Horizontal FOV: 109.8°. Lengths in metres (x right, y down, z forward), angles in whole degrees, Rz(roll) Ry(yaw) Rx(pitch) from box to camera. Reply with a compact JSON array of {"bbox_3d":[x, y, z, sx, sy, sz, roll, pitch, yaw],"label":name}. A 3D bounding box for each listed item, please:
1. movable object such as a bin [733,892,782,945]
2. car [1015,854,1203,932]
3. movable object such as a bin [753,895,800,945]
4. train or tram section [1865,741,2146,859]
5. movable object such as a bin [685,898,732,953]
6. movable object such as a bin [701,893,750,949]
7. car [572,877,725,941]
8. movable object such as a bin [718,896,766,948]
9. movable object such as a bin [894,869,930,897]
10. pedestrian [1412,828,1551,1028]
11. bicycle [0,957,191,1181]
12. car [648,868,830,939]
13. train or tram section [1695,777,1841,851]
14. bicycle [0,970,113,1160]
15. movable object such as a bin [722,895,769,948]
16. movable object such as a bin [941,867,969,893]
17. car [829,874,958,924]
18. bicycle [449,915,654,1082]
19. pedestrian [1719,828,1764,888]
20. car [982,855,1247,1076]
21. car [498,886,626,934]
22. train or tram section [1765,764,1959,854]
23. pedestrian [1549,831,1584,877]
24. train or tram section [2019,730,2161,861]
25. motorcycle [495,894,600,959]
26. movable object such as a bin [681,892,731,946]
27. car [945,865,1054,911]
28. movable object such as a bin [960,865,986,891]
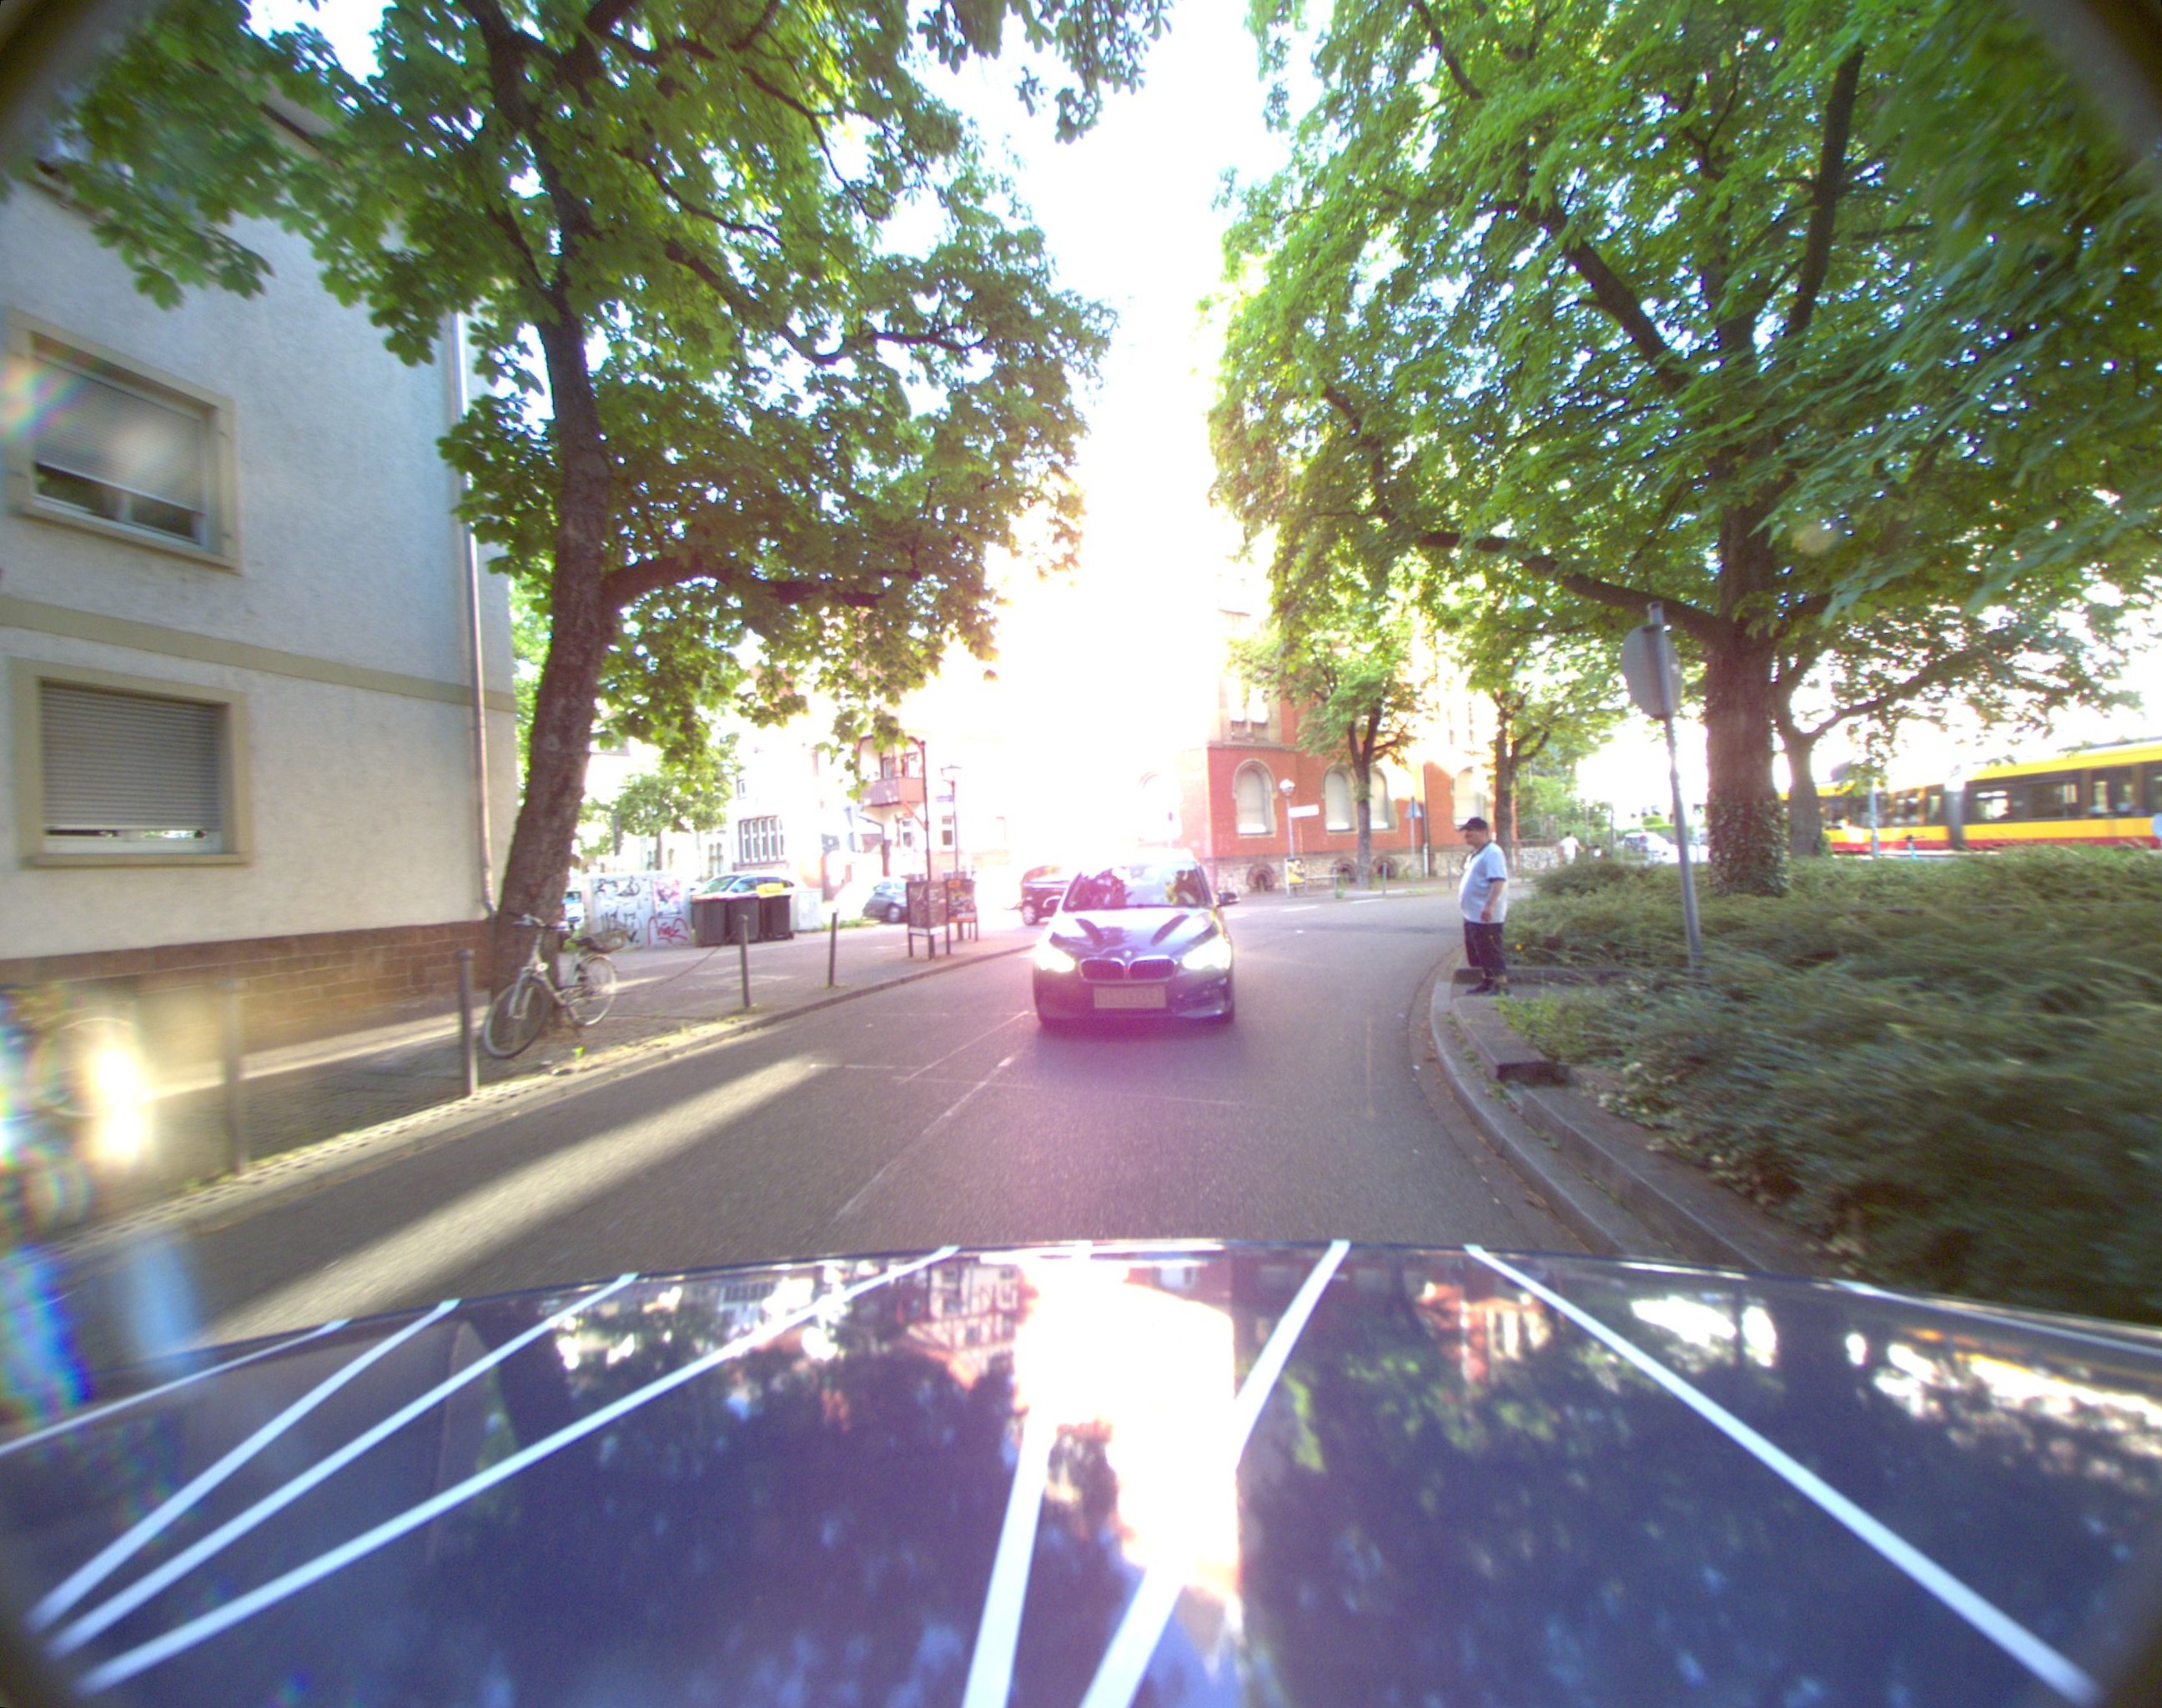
[{"bbox_3d":[-7.447,1.471,17.482,0.699,1.146,0.741,-3,0,39],"label":"movable object such as a bin"},{"bbox_3d":[0.606,0.942,18.723,4.251,1.584,2.003,-4,1,43],"label":"car"},{"bbox_3d":[-6.838,1.475,17.068,0.692,1.058,0.660,-3,0,39],"label":"movable object such as a bin"},{"bbox_3d":[33.234,-1.791,27.900,2.934,3.570,7.196,-4,0,17],"label":"train or tram section"},{"bbox_3d":[-7.851,1.492,16.011,0.672,1.077,0.594,-3,0,37],"label":"movable object such as a bin"},{"bbox_3d":[-7.890,1.473,16.868,0.700,1.146,0.635,-4,1,39],"label":"movable object such as a bin"},{"bbox_3d":[-13.401,1.644,23.675,1.699,1.641,3.712,-3,0,42],"label":"car"},{"bbox_3d":[-8.022,1.588,18.006,0.714,1.146,0.741,-3,0,39],"label":"movable object such as a bin"},{"bbox_3d":[-8.445,1.471,38.059,1.383,1.291,0.966,-4,1,-42],"label":"movable object such as a bin"},{"bbox_3d":[3.671,0.627,6.962,0.920,1.674,0.778,-3,0,-42],"label":"pedestrian"},{"bbox_3d":[-6.508,1.318,4.446,0.438,1.174,1.785,-3,0,0],"label":"bicycle"},{"bbox_3d":[-9.446,1.337,21.263,2.019,1.702,4.128,-4,-2,34],"label":"car"},{"bbox_3d":[37.326,-2.097,41.681,2.968,3.487,7.196,-4,0,17],"label":"train or tram section"},{"bbox_3d":[-6.936,1.358,4.374,0.392,1.102,1.803,-3,0,-1],"label":"bicycle"},{"bbox_3d":[-7.272,1.449,16.463,0.703,1.069,0.632,-3,0,39],"label":"movable object such as a bin"},{"bbox_3d":[-6.654,1.367,40.153,0.685,1.310,1.387,-3,1,31],"label":"movable object such as a bin"},{"bbox_3d":[-6.108,1.449,24.570,4.244,1.387,1.798,-3,0,39],"label":"car"},{"bbox_3d":[-4.732,1.230,6.967,0.555,1.175,1.790,-3,0,0],"label":"bicycle"},{"bbox_3d":[18.149,0.123,20.886,0.852,1.595,0.603,-3,0,38],"label":"pedestrian"},{"bbox_3d":[0.492,0.862,7.993,1.923,1.597,4.519,-3,0,7],"label":"car"},{"bbox_3d":[-19.420,2.069,28.530,1.673,1.496,3.608,-4,-2,39],"label":"car"},{"bbox_3d":[35.281,-1.923,34.806,2.968,3.487,7.196,-4,0,17],"label":"train or tram section"},{"bbox_3d":[17.923,-0.012,28.068,0.858,1.633,0.871,-3,0,19],"label":"pedestrian"},{"bbox_3d":[31.191,-1.687,21.004,2.929,3.578,7.197,-4,0,17],"label":"train or tram section"},{"bbox_3d":[-11.591,1.551,16.485,2.177,1.272,0.980,-3,0,30],"label":"motorcycle"},{"bbox_3d":[-8.526,1.466,17.267,0.699,1.146,0.741,-3,0,39],"label":"movable object such as a bin"},{"bbox_3d":[-3.073,1.276,28.342,3.787,1.477,1.713,-3,2,38],"label":"car"},{"bbox_3d":[-5.816,1.312,41.131,0.629,1.302,1.207,-3,1,40],"label":"movable object such as a bin"}]
